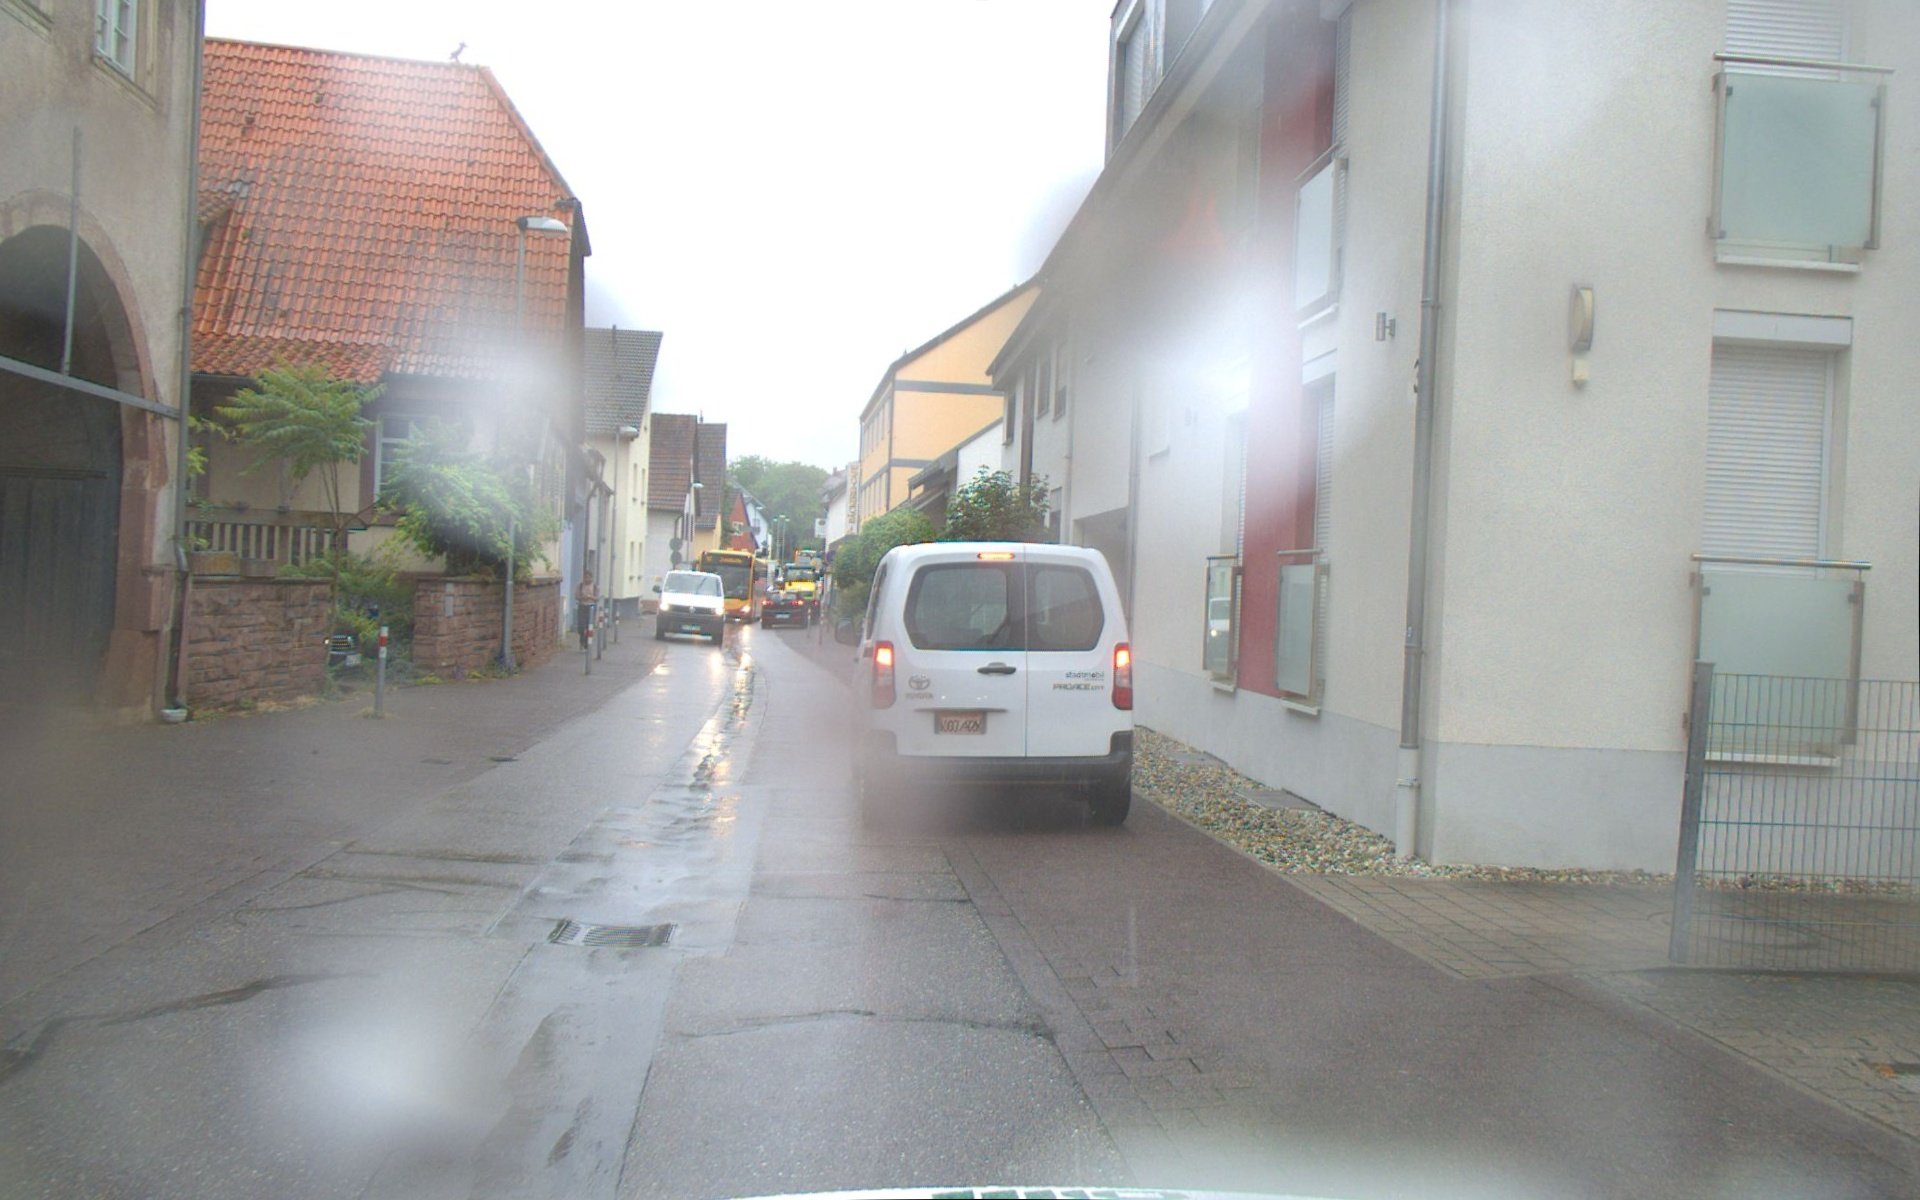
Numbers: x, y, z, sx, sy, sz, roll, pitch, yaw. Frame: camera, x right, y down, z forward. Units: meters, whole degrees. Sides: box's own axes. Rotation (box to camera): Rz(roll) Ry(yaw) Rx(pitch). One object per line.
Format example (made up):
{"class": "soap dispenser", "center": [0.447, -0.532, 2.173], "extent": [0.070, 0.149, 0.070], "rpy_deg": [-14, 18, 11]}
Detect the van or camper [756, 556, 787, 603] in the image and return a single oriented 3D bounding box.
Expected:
{"class": "van or camper", "center": [-12.720, -1.361, 111.893], "extent": [1.799, 2.976, 5.357], "rpy_deg": [3, -1, -5]}

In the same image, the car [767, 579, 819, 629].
{"class": "car", "center": [-5.477, 0.128, 54.305], "extent": [1.532, 1.506, 3.580], "rpy_deg": [3, -1, -6]}

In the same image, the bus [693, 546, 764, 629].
{"class": "bus", "center": [-10.479, -0.513, 75.601], "extent": [2.740, 3.387, 8.166], "rpy_deg": [4, -1, -6]}

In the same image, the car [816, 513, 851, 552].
{"class": "car", "center": [-7.596, -4.029, 98.997], "extent": [1.955, 2.049, 3.996], "rpy_deg": [3, -1, -5]}

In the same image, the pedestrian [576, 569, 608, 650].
{"class": "pedestrian", "center": [-7.225, 0.188, 32.493], "extent": [0.558, 1.557, 0.567], "rpy_deg": [1, 0, -16]}

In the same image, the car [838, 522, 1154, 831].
{"class": "car", "center": [0.080, 0.474, 12.035], "extent": [1.760, 1.850, 4.095], "rpy_deg": [1, 0, -6]}

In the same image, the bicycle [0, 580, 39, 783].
{"class": "bicycle", "center": [-5.856, 0.467, 9.209], "extent": [0.473, 1.200, 1.833], "rpy_deg": [3, -1, -4]}

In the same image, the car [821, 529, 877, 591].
{"class": "car", "center": [-4.064, -1.415, 60.156], "extent": [1.792, 2.049, 3.688], "rpy_deg": [3, -1, -6]}

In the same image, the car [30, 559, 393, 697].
{"class": "car", "center": [-8.636, 0.317, 19.313], "extent": [3.458, 1.400, 1.593], "rpy_deg": [2, 0, -4]}

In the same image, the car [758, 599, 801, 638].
{"class": "car", "center": [-7.033, 0.716, 64.592], "extent": [1.532, 1.395, 3.580], "rpy_deg": [3, -1, -6]}

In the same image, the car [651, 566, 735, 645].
{"class": "car", "center": [-7.524, 0.167, 47.012], "extent": [1.855, 2.001, 4.719], "rpy_deg": [3, -1, -4]}

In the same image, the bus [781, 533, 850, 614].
{"class": "bus", "center": [-6.595, -1.104, 74.575], "extent": [2.740, 3.235, 8.166], "rpy_deg": [4, -1, -6]}
